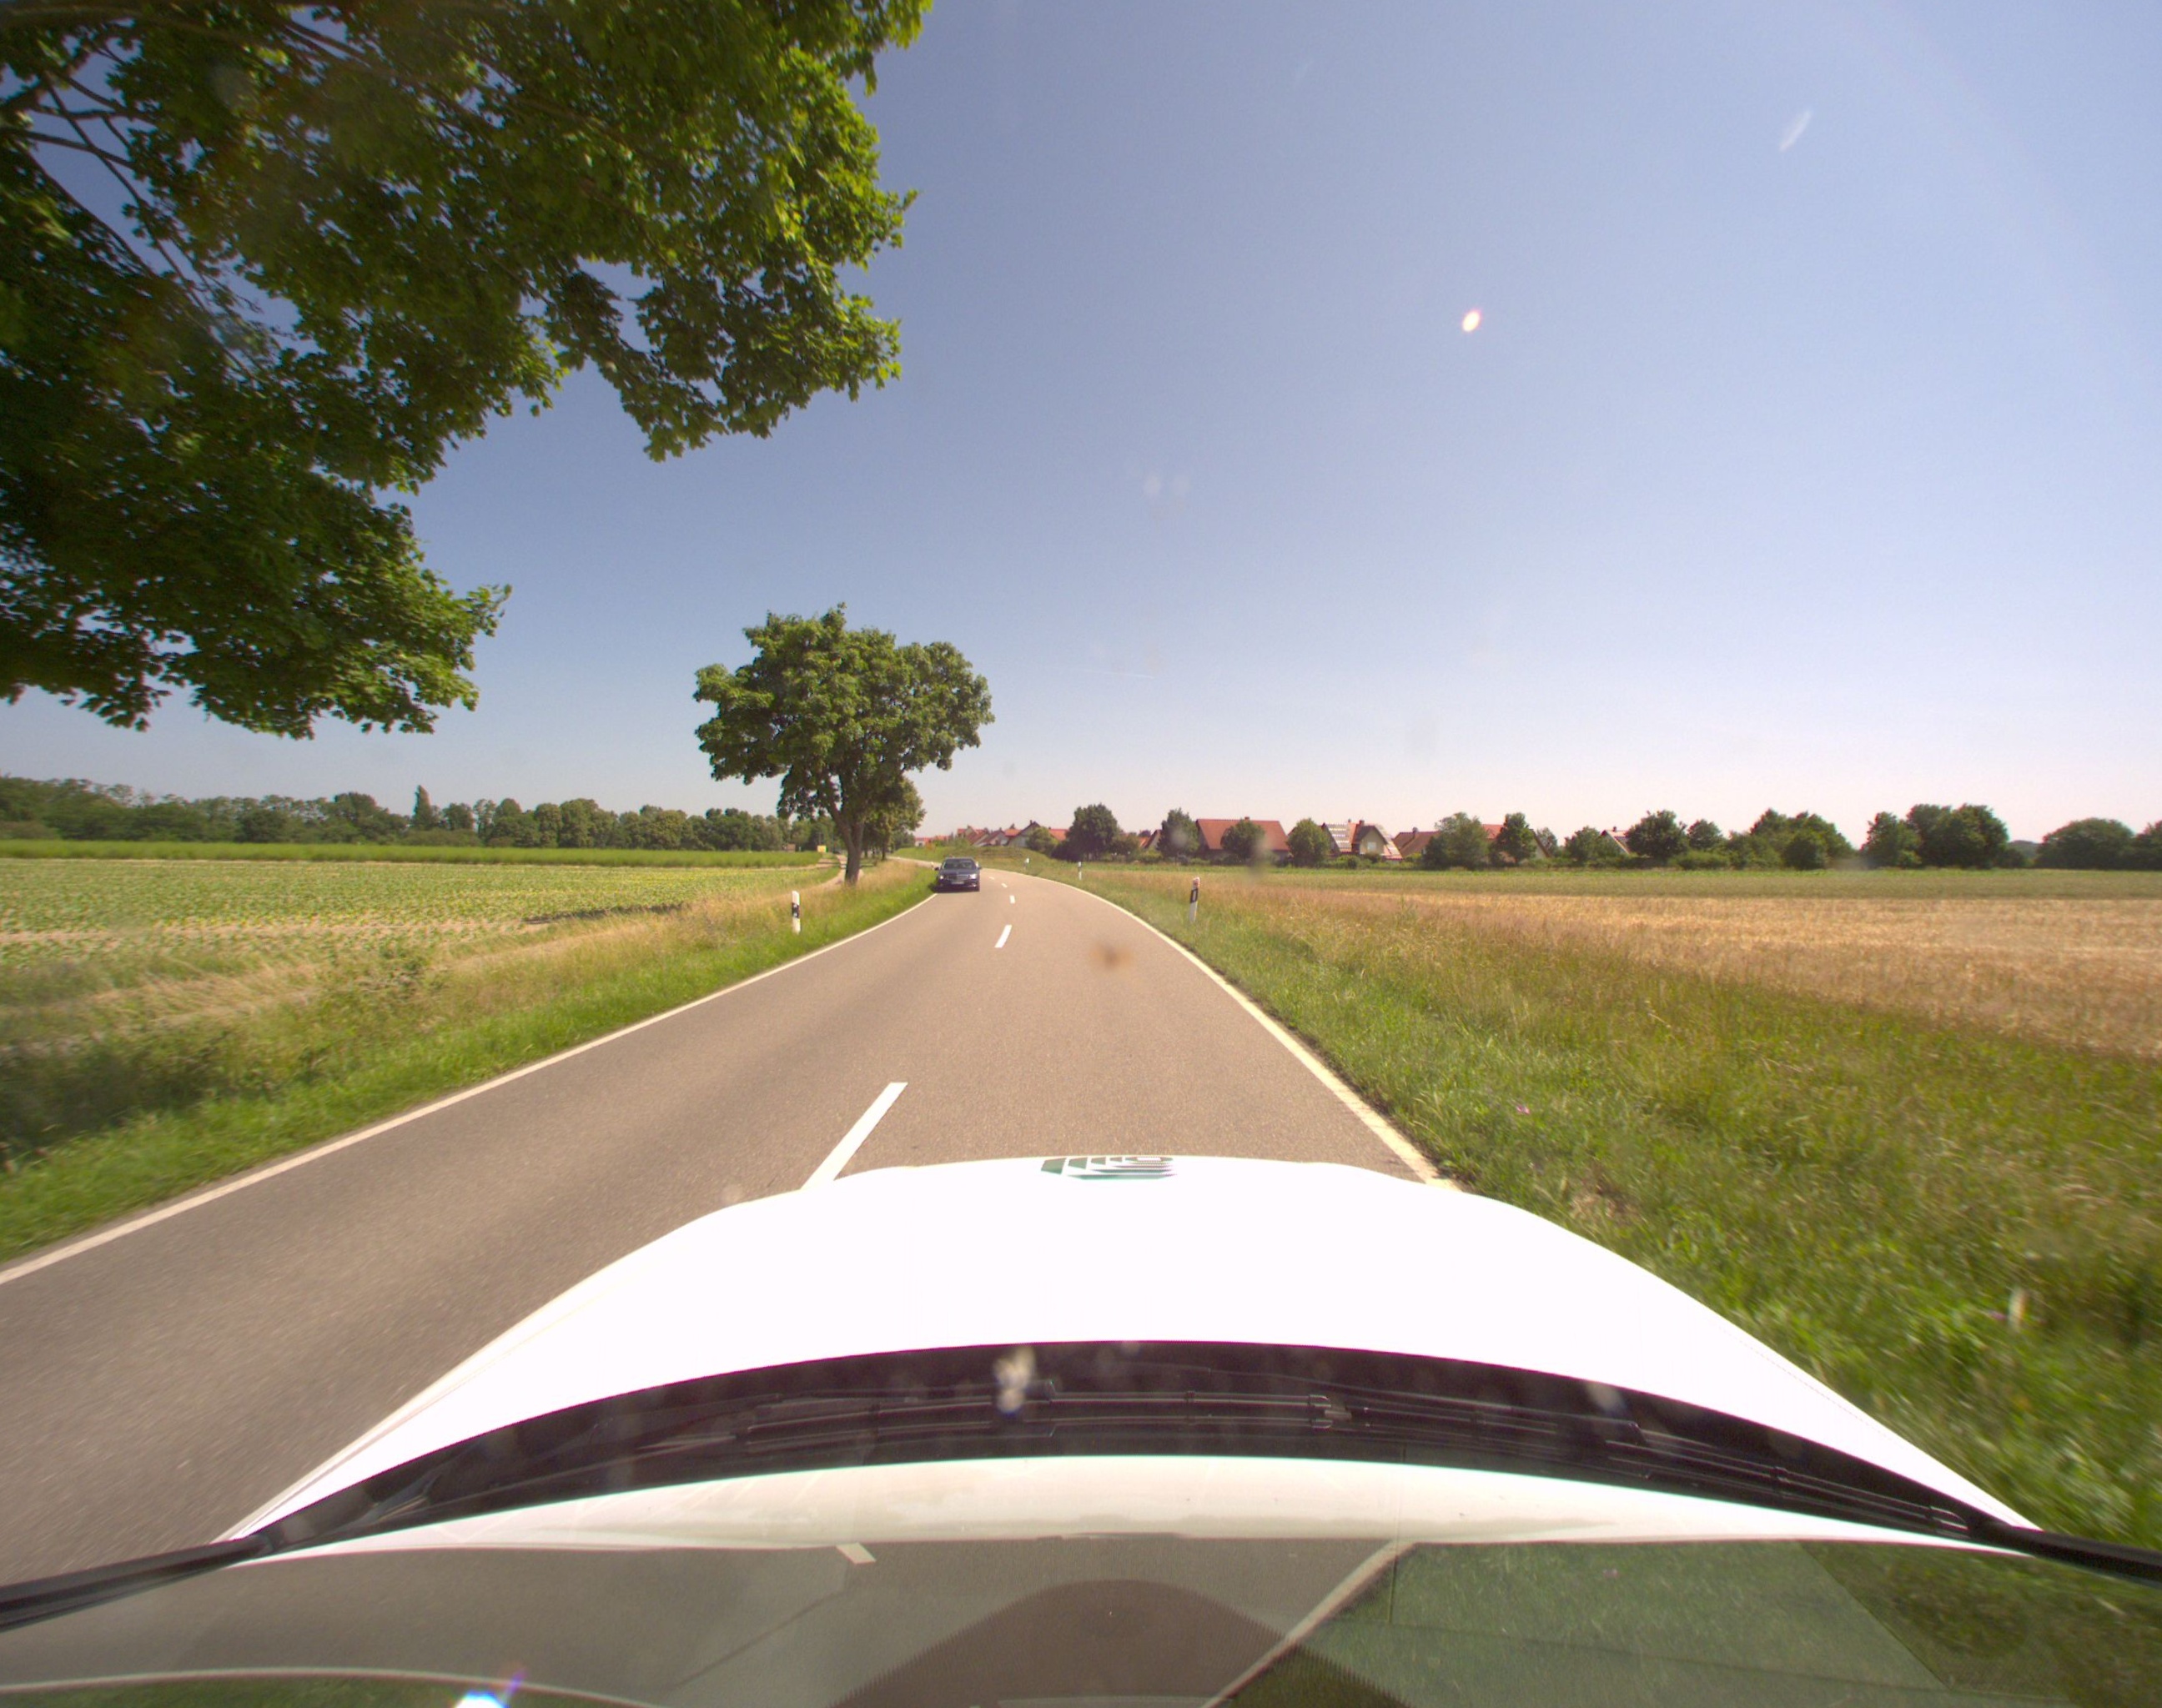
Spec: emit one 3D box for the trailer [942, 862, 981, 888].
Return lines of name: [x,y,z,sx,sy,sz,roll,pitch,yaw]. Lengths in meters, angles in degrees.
trailer: [-5.659,0.968,39.027,1.620,1.065,4.110,-3,0,-6]

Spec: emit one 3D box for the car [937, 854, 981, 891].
car: [-5.166,0.747,34.910,1.642,1.429,4.171,-2,0,-6]
